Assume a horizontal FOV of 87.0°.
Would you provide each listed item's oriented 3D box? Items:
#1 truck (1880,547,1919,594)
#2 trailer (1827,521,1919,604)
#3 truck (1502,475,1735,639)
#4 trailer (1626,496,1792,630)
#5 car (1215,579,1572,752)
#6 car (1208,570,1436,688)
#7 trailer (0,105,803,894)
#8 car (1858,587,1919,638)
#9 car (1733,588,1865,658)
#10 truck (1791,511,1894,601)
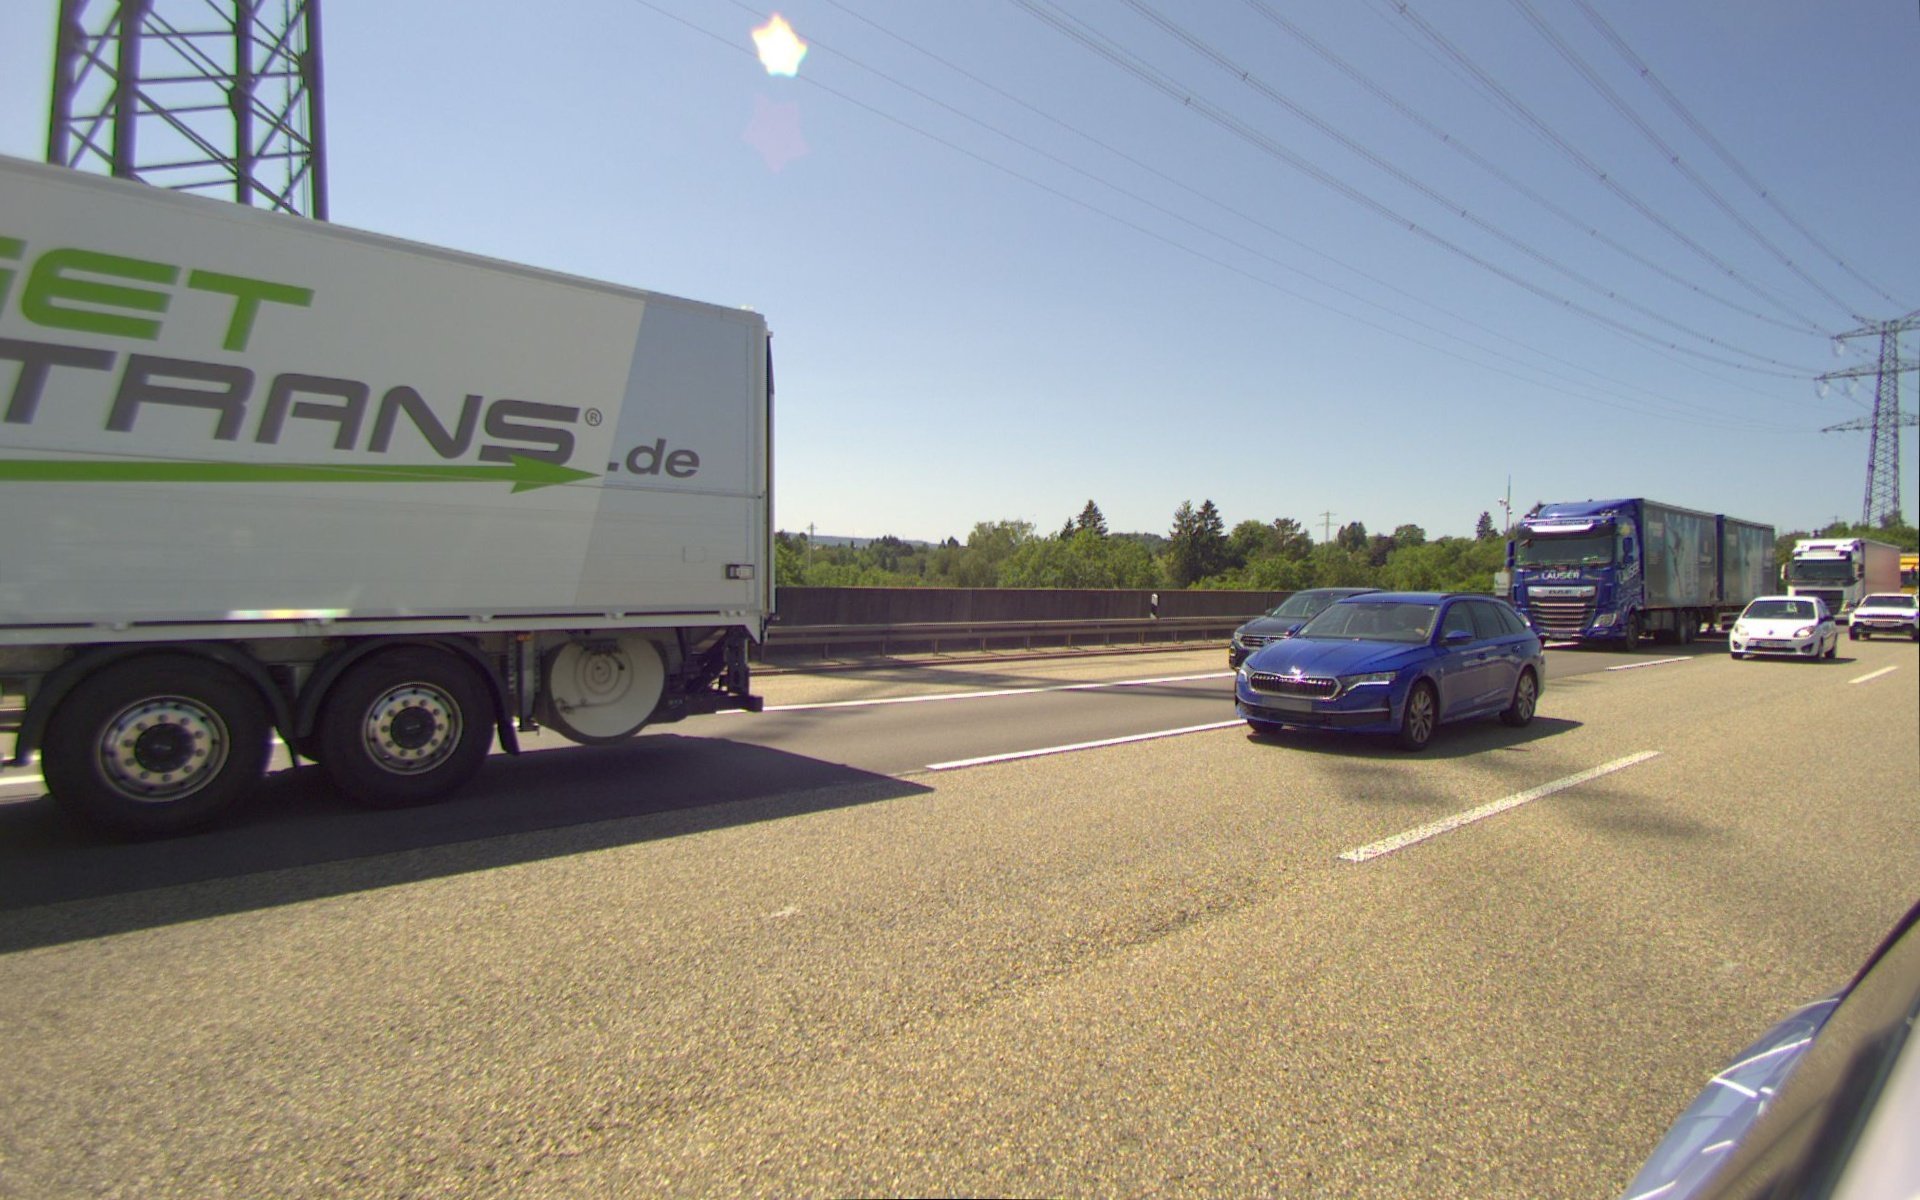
[{"bbox_3d":[65.204,-2.032,69.573,6.139,3.018,2.249,-1,5,-43],"label":"truck"},{"bbox_3d":[49.214,-1.959,54.468,8.927,4.169,2.606,-1,1,-41],"label":"trailer"},{"bbox_3d":[19.164,-1.144,29.069,10.212,3.999,2.857,-1,1,-41],"label":"truck"},{"bbox_3d":[26.173,-1.223,35.155,8.487,4.140,2.833,-1,1,-41],"label":"trailer"},{"bbox_3d":[4.780,0.531,10.826,4.483,1.470,1.711,-1,1,-41],"label":"car"},{"bbox_3d":[5.959,0.377,16.432,4.046,1.675,1.711,-1,1,-41],"label":"car"},{"bbox_3d":[-5.249,-0.520,6.599,8.073,3.940,2.903,-1,1,-42],"label":"trailer"},{"bbox_3d":[30.505,0.352,32.668,4.072,1.528,1.711,-1,1,-41],"label":"car"},{"bbox_3d":[19.642,0.471,23.643,4.072,1.470,1.711,-1,1,-41],"label":"car"},{"bbox_3d":[42.749,-2.042,48.923,8.120,4.037,2.606,-1,1,-41],"label":"truck"}]
